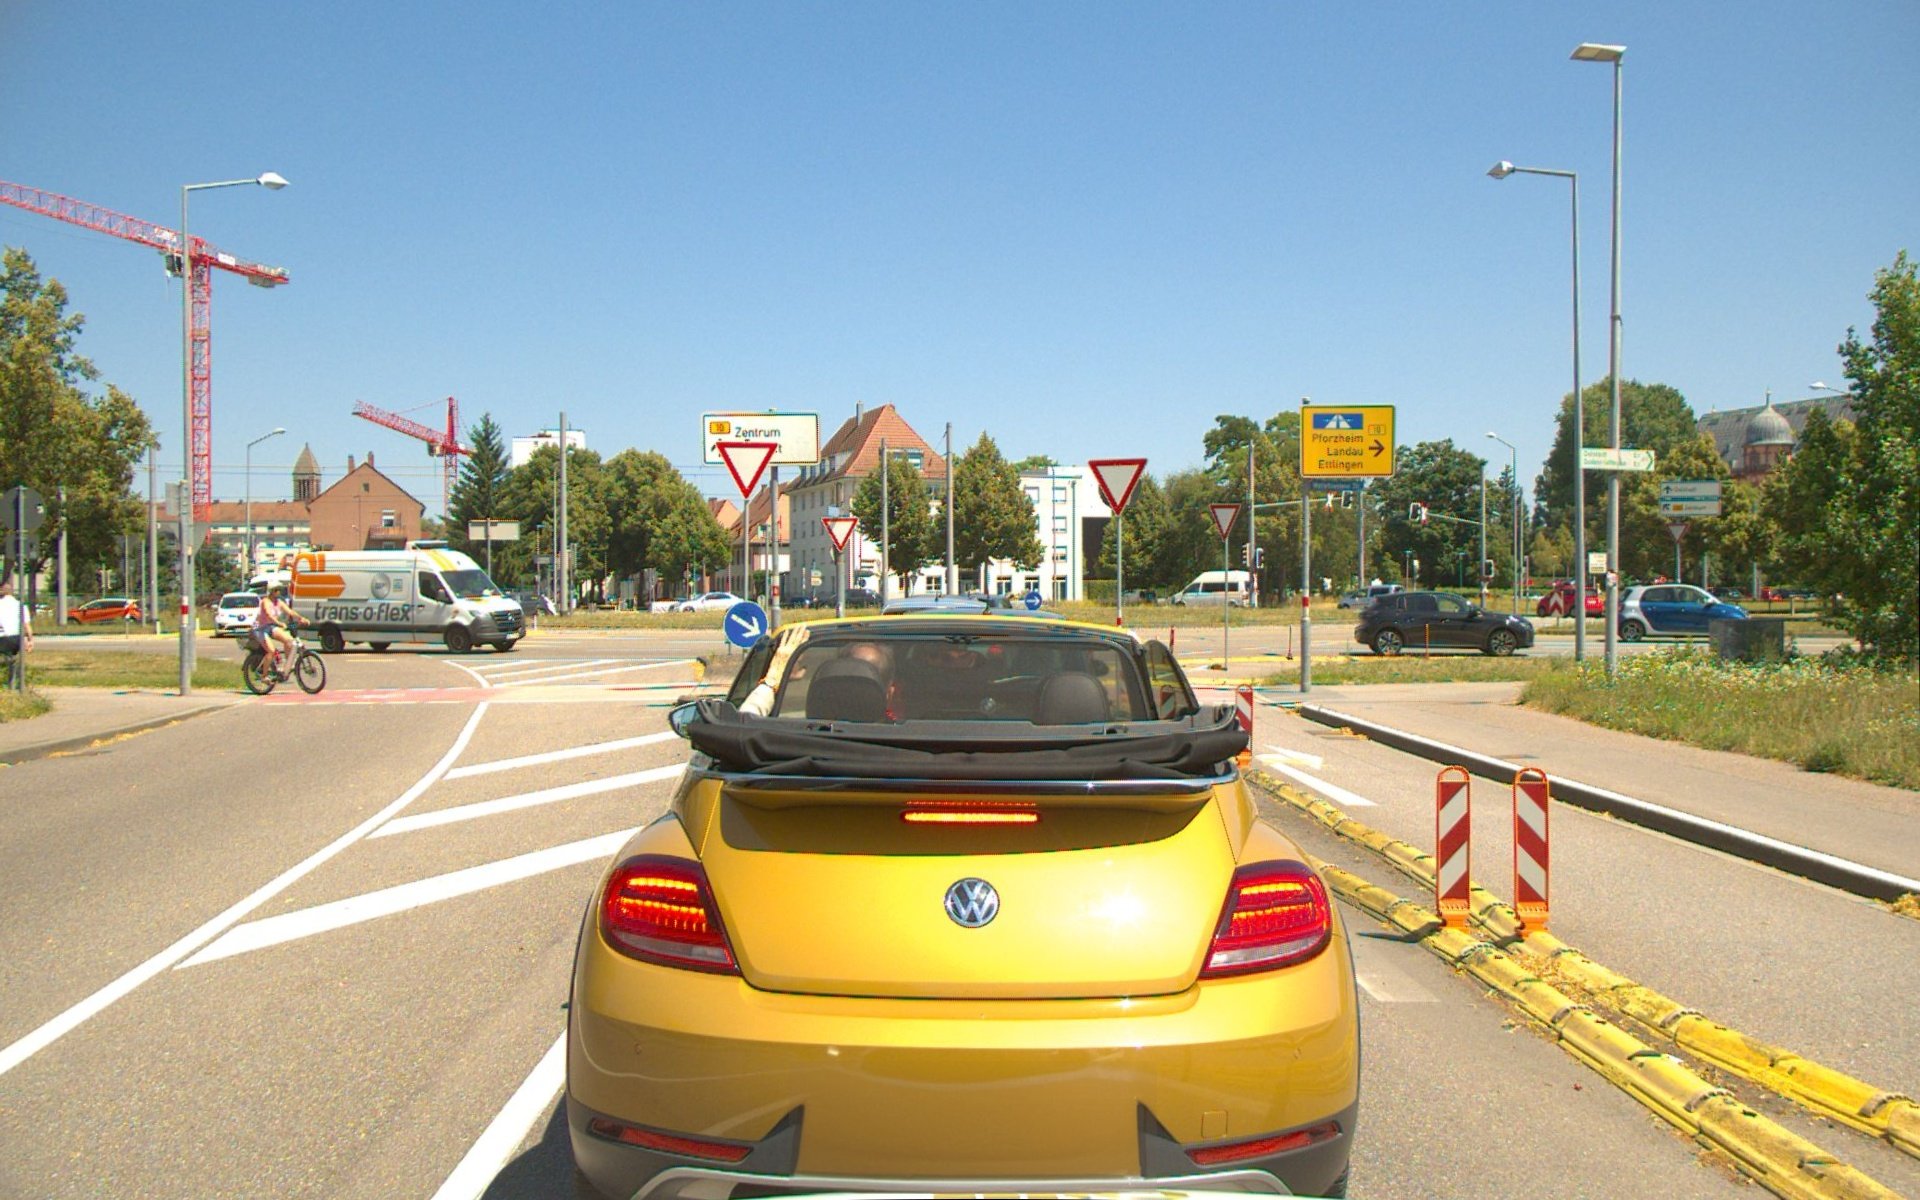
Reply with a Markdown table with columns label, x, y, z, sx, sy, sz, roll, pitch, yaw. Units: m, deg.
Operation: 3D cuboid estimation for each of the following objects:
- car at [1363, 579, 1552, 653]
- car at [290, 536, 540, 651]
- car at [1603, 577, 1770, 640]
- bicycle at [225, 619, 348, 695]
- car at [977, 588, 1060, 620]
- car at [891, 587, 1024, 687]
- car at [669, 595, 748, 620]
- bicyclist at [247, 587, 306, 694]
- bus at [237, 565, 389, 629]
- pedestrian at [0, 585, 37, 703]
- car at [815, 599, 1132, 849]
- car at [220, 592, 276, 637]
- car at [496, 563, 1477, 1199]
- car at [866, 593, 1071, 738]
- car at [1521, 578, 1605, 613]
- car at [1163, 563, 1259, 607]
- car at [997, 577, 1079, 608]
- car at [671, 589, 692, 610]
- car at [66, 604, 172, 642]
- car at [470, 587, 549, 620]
| label | x | y | z | sx | sy | sz | roll | pitch | yaw |
| --- | --- | --- | --- | --- | --- | --- | --- | --- | --- |
| car | 11.382 | 0.351 | 38.027 | 3.902 | 1.579 | 1.729 | -1 | 2 | 6 |
| car | -14.452 | -0.187 | 43.719 | 6.726 | 2.877 | 1.998 | 1 | 0 | 26 |
| car | 19.386 | 0.220 | 44.297 | 3.903 | 1.579 | 1.729 | 1 | 0 | 17 |
| bicycle | -11.363 | 0.947 | 27.912 | 2.049 | 1.242 | 0.634 | -1 | 0 | 22 |
| car | 3.921 | 0.258 | 109.911 | 5.197 | 1.996 | 1.996 | 1 | 0 | 13 |
| car | -0.077 | 0.551 | 27.605 | 2.023 | 1.506 | 4.542 | -1 | 0 | -1 |
| car | -14.786 | 0.420 | 97.349 | 4.273 | 1.395 | 1.734 | 1 | 0 | -31 |
| bicyclist | -11.561 | 0.679 | 27.991 | 0.656 | 1.783 | 0.592 | -1 | 1 | 20 |
| bus | -34.285 | -0.112 | 87.778 | 7.198 | 3.228 | 2.231 | 1 | -1 | -37 |
| pedestrian | -14.904 | 0.672 | 25.885 | 0.631 | 1.817 | 0.956 | 1 | -1 | -38 |
| car | 0.049 | 0.712 | 11.677 | 1.814 | 1.389 | 4.257 | -1 | 0 | -1 |
| car | -25.772 | 0.506 | 59.787 | 1.753 | 1.554 | 3.842 | -1 | 0 | -25 |
| car | 0.021 | 0.711 | 5.067 | 1.729 | 1.507 | 4.257 | 1 | 0 | -1 |
| car | 0.055 | 0.661 | 18.594 | 2.023 | 1.406 | 4.257 | 1 | 0 | -1 |
| car | 30.184 | -0.212 | 82.932 | 1.863 | 1.683 | 4.329 | 1 | 0 | -15 |
| car | 14.639 | -0.881 | 96.676 | 5.221 | 2.439 | 1.987 | 1 | 0 | 36 |
| car | 5.185 | -0.506 | 109.759 | 5.197 | 1.996 | 1.996 | 1 | 0 | 13 |
| car | -24.548 | -0.055 | 145.848 | 1.722 | 1.825 | 3.991 | 1 | 0 | -9 |
| car | -40.200 | 1.105 | 79.069 | 4.385 | 1.766 | 1.829 | 1 | 0 | -31 |
| car | -25.497 | 0.199 | 93.657 | 3.963 | 1.803 | 1.760 | 1 | 0 | -41 |
